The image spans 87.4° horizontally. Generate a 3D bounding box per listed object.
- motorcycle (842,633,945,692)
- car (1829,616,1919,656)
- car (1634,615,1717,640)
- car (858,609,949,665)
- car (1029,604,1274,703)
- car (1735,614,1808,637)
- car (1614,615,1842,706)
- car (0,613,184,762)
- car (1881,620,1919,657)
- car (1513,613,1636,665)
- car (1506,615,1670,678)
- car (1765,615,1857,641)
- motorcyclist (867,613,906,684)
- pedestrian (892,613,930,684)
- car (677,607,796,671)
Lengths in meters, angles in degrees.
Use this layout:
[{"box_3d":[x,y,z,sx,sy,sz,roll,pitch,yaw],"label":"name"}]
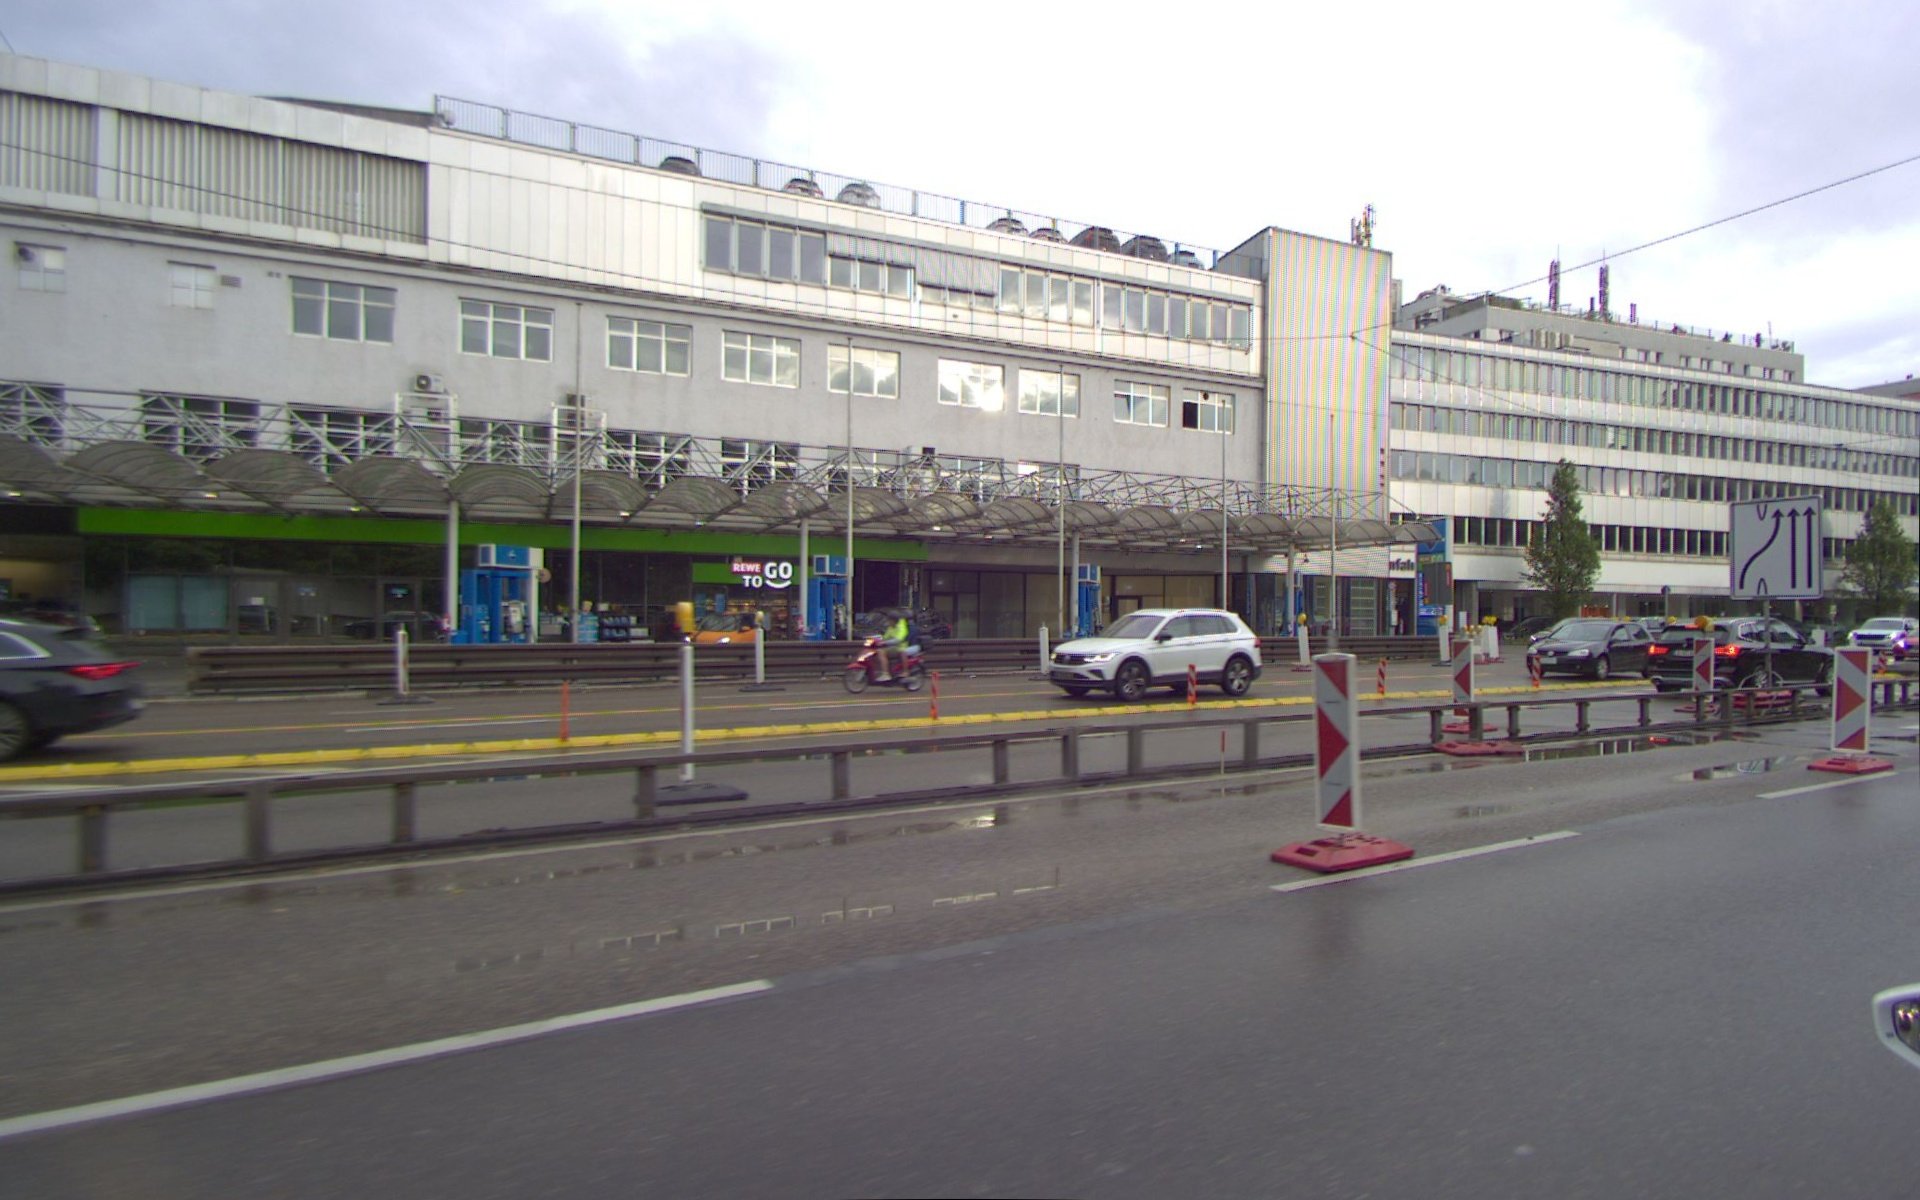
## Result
[{"box_3d":[-1.316,1.219,19.992,2.003,1.117,0.576,1,-2,-30],"label":"motorcycle"},{"box_3d":[41.729,1.611,45.714,4.777,1.730,1.969,1,-1,-32],"label":"car"},{"box_3d":[48.752,1.855,68.544,4.304,1.673,1.853,-1,-2,26],"label":"car"},{"box_3d":[-1.750,1.206,32.870,1.973,1.701,4.483,-1,-2,10],"label":"car"},{"box_3d":[3.722,0.966,19.322,4.527,1.712,1.929,1,-1,-31],"label":"car"},{"box_3d":[59.200,1.873,73.336,3.932,1.595,1.995,-1,-2,34],"label":"car"},{"box_3d":[16.195,1.195,21.169,4.608,1.619,1.941,0,2,-26],"label":"car"},{"box_3d":[-11.011,0.880,10.243,4.652,1.485,1.842,1,-2,-31],"label":"car"},{"box_3d":[38.439,1.516,39.833,4.241,1.423,1.726,1,0,-32],"label":"car"},{"box_3d":[19.598,1.211,32.020,4.031,1.556,1.702,1,-2,-31],"label":"car"},{"box_3d":[16.511,1.160,26.377,4.250,1.541,1.949,1,-1,-31],"label":"car"},{"box_3d":[63.912,2.118,75.521,4.890,1.922,2.000,-1,-2,19],"label":"car"},{"box_3d":[-1.459,0.960,19.941,0.554,1.381,0.585,0,-1,-31],"label":"motorcyclist"},{"box_3d":[-0.989,0.968,20.233,0.554,1.381,0.585,0,-1,-31],"label":"pedestrian"},{"box_3d":[-6.634,1.177,30.309,1.927,1.793,4.449,-1,-2,10],"label":"car"}]
